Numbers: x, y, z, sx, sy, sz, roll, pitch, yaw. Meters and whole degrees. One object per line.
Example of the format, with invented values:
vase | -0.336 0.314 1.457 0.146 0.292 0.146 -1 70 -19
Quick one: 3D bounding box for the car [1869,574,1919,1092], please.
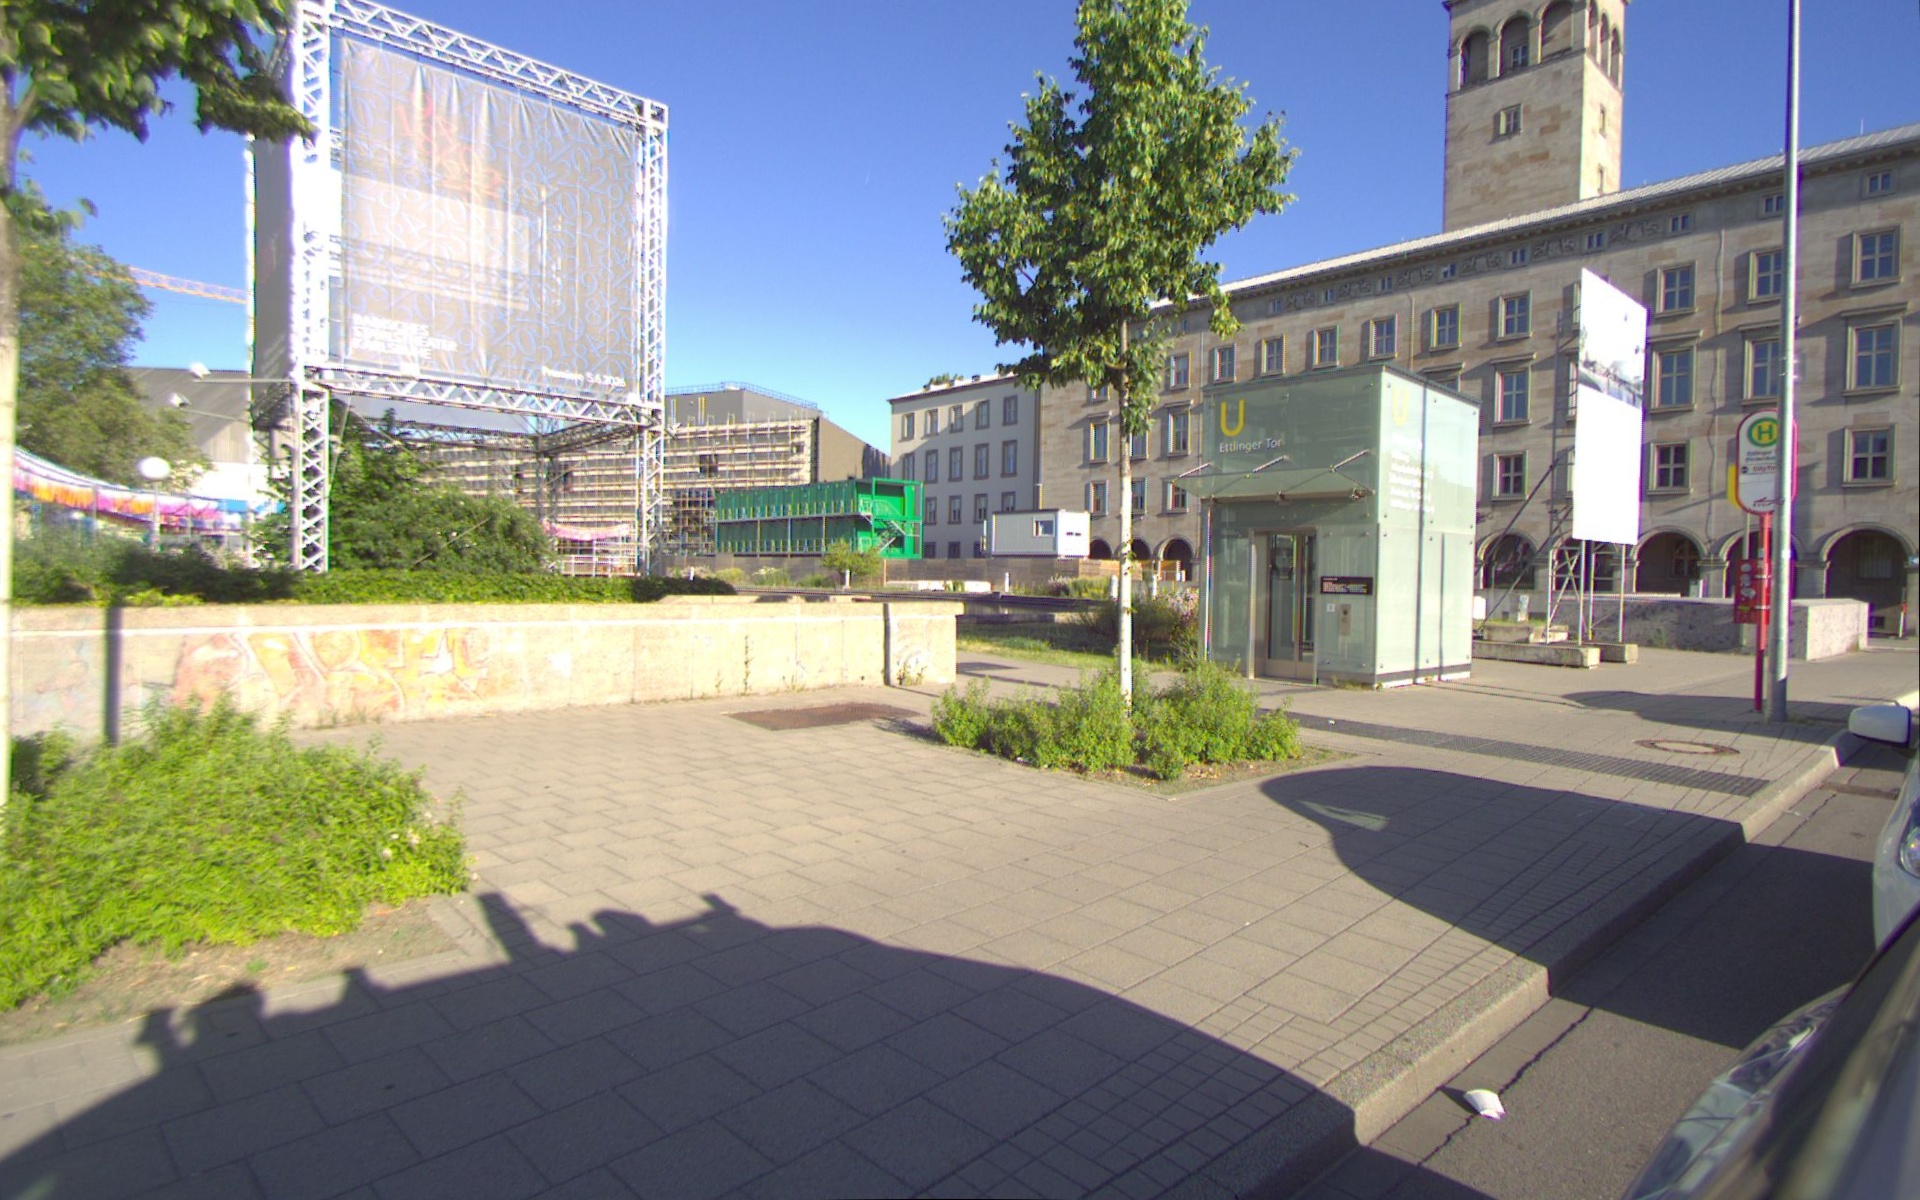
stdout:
car | 4.649 0.679 3.666 3.930 1.473 1.518 0 2 -41
